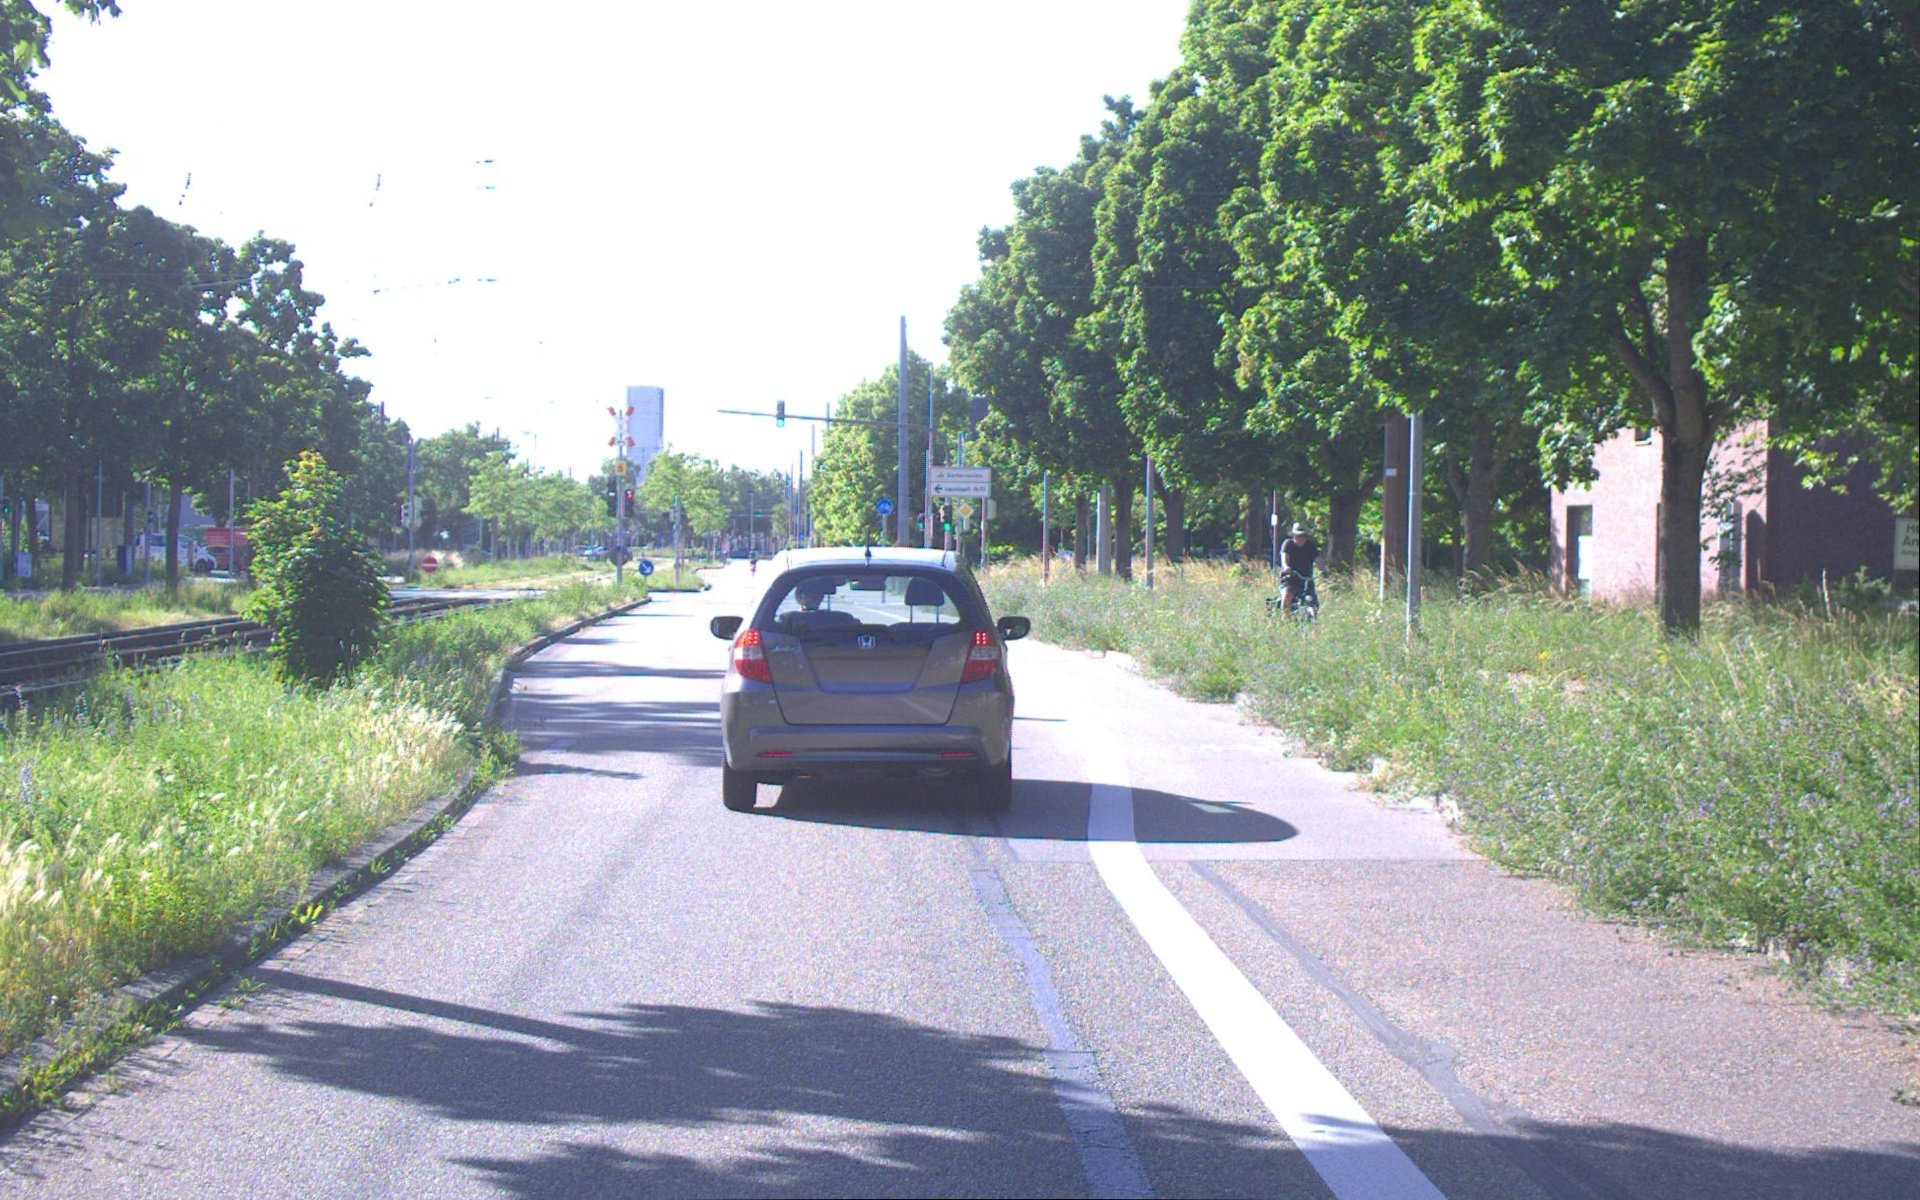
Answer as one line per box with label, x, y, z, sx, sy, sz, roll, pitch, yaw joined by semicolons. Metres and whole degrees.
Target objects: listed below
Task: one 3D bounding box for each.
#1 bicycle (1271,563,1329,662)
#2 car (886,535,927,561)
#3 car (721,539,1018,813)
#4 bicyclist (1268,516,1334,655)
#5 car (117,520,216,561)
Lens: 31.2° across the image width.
bicycle;4.243;0.172;43.004;0.483;1.200;2.143;1;-1;-1
car;-2.856;-2.771;183.680;1.773;1.382;3.871;0;1;-7
car;-0.548;0.397;20.802;1.624;1.494;3.457;1;1;-2
bicyclist;4.264;-0.177;43.040;0.683;1.714;0.902;1;0;-2
car;-39.666;-2.972;171.955;1.859;1.967;4.776;1;1;37
